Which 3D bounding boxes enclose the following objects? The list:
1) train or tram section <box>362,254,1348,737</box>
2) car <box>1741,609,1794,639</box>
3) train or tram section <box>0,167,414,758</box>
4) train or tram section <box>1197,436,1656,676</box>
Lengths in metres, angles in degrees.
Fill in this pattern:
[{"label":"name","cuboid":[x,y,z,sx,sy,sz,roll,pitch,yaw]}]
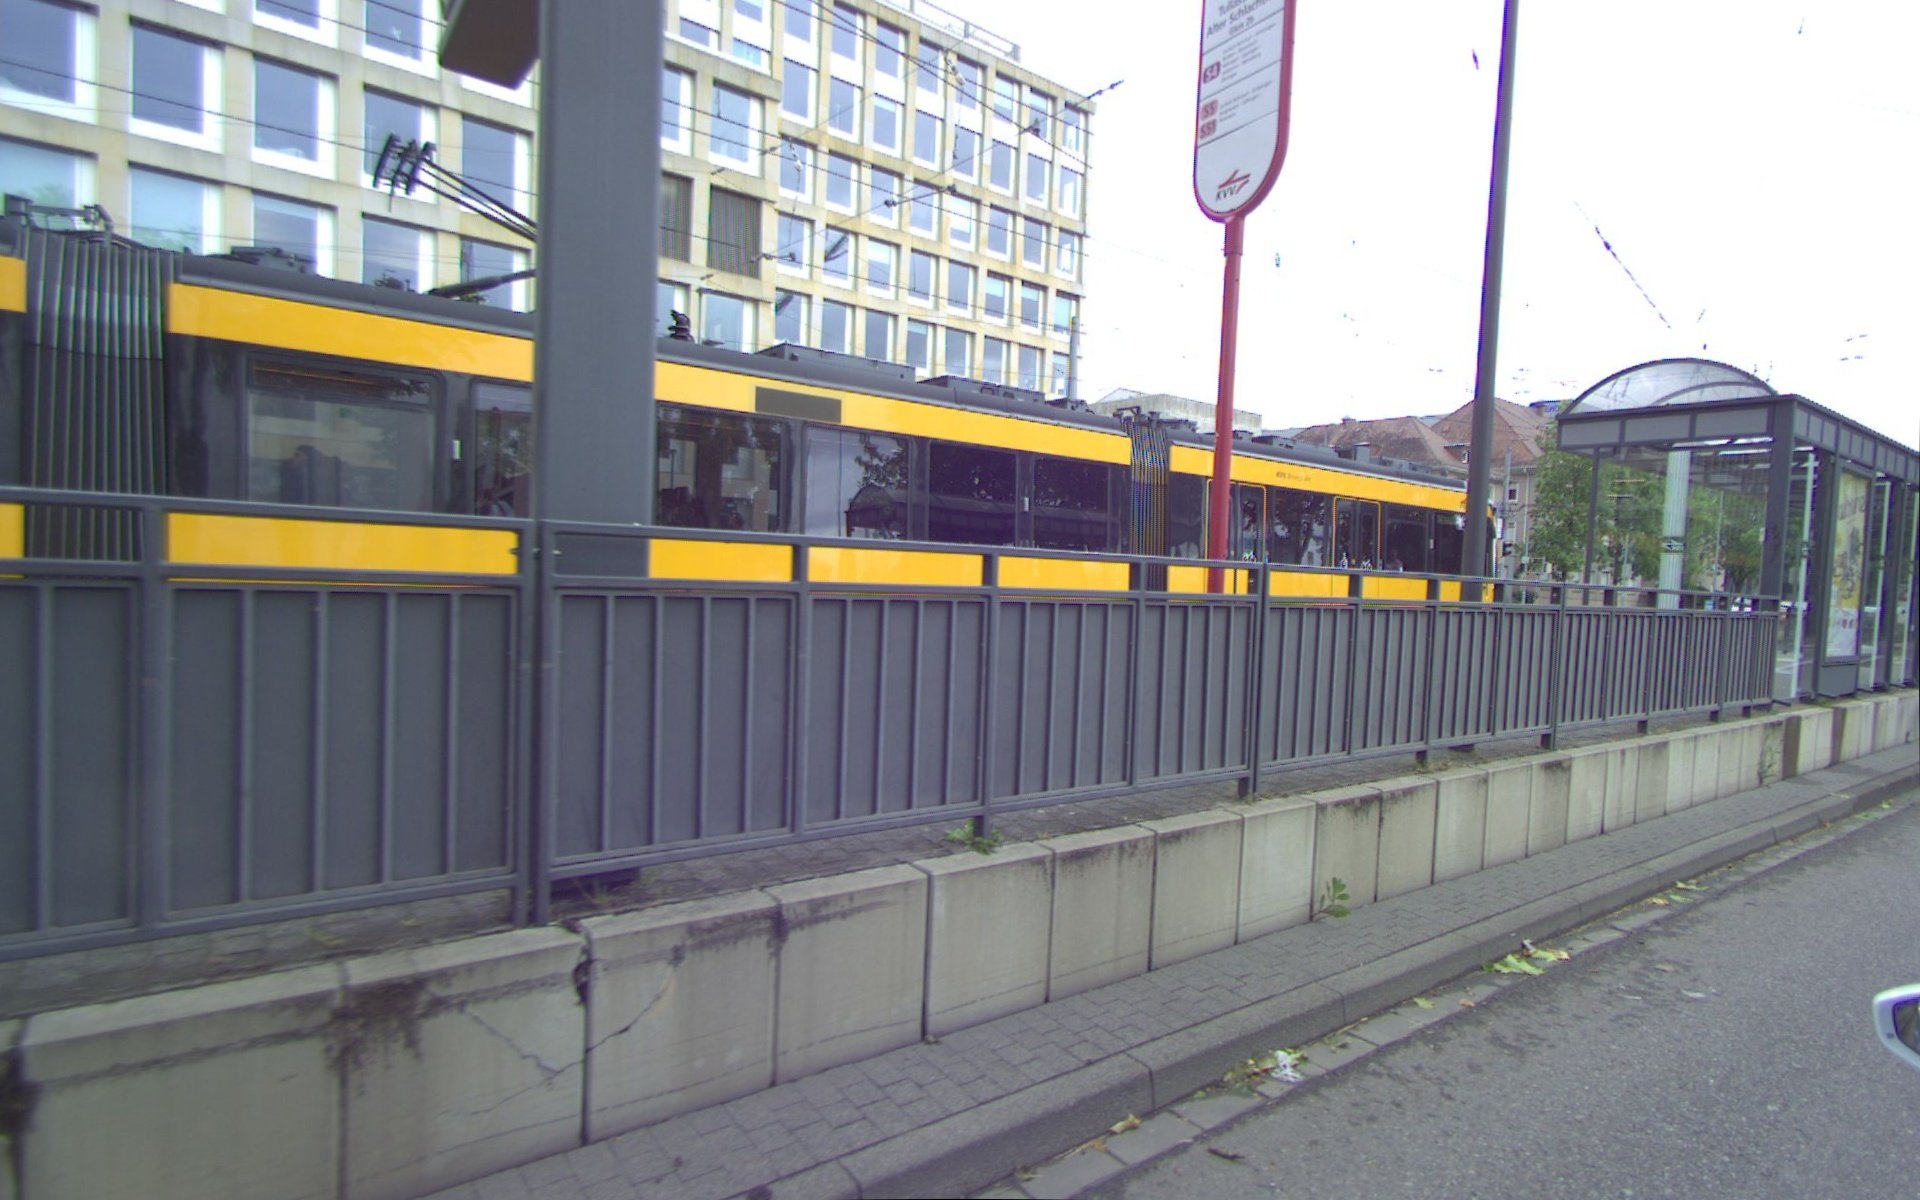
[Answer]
[{"label":"train or tram section","cuboid":[0.009,-0.791,14.541,14.599,4.235,3.156,2,2,-38]},{"label":"car","cuboid":[52.962,1.558,65.896,3.969,1.818,1.976,2,2,-41]},{"label":"train or tram section","cuboid":[-11.562,-1.159,5.621,14.599,4.235,3.156,2,2,-38]},{"label":"train or tram section","cuboid":[11.603,-0.654,23.438,14.599,4.235,3.156,2,2,-38]}]
